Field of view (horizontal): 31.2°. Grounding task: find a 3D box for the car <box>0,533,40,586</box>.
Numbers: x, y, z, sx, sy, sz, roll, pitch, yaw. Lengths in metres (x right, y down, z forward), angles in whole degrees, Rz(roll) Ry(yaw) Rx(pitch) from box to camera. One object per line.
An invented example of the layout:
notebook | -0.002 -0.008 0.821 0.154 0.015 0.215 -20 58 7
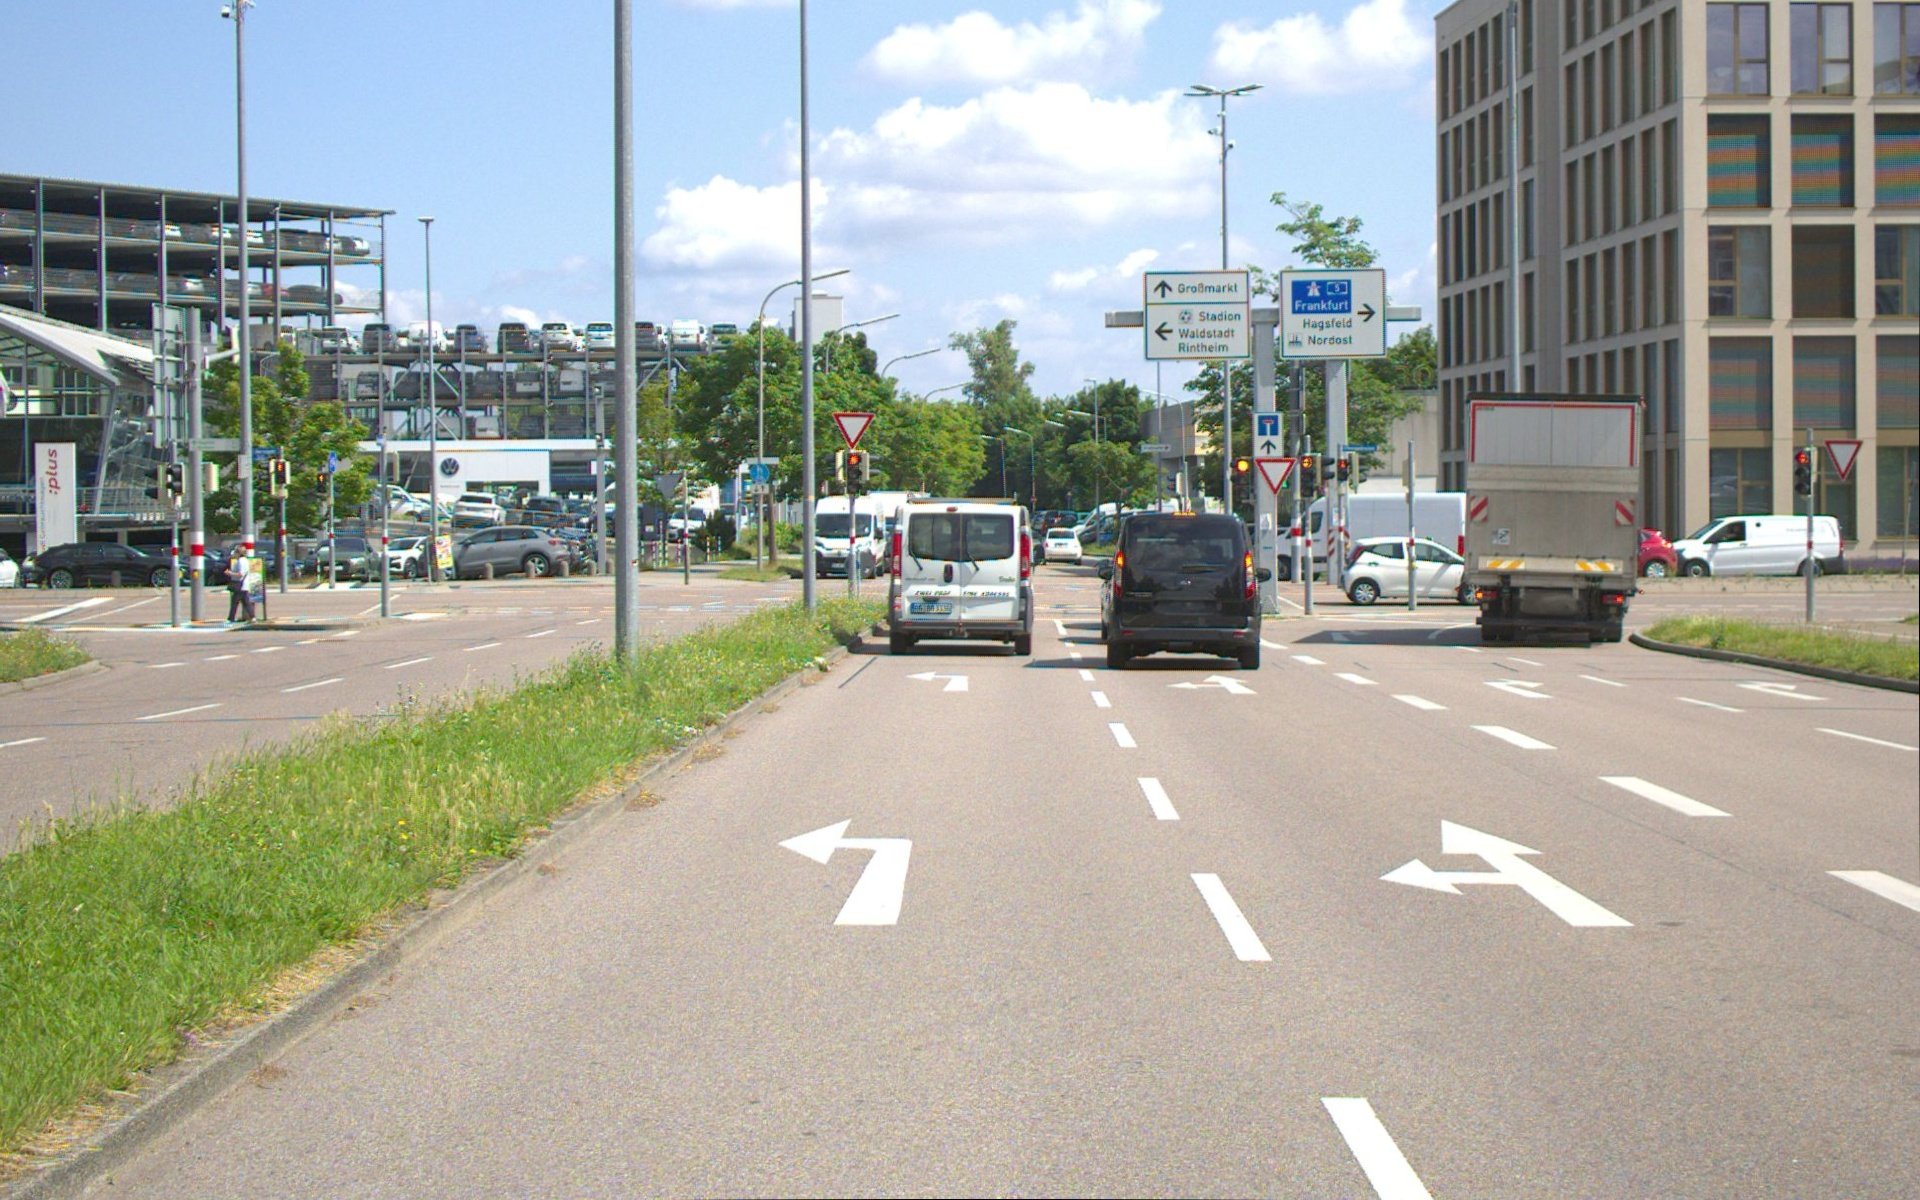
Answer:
car | -27.792 -1.177 98.820 1.776 1.445 4.030 0 2 -3

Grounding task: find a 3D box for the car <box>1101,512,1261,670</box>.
car | 2.673 -0.155 41.518 1.820 1.802 4.000 1 1 4

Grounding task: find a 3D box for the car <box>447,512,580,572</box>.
car | -13.885 -1.817 107.081 3.912 1.707 1.689 -2 2 -2

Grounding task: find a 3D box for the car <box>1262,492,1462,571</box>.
car | 11.784 -2.046 100.914 5.507 2.247 1.996 1 2 33

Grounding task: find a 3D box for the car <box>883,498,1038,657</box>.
car | 0.048 -0.320 45.772 1.856 2.011 4.000 0 1 3

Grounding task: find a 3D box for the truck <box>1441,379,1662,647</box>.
truck | 9.573 -1.439 54.903 3.131 3.927 8.854 0 2 12

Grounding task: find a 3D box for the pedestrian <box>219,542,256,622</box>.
pedestrian | -13.676 -0.346 65.108 0.470 1.507 0.511 1 1 26

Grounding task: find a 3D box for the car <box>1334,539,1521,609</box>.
car | 10.150 -0.571 74.847 3.851 1.461 1.696 0 2 1

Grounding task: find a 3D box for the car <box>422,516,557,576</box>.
car | -14.227 -1.650 104.136 3.861 1.634 1.858 -2 2 -2

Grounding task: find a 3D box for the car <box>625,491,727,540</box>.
car | -11.231 -3.321 135.796 3.986 1.919 1.827 0 1 -5

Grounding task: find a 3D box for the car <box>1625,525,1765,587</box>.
car | 19.079 -1.159 89.294 3.272 1.400 1.334 0 10 -1

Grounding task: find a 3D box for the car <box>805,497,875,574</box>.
car | -3.707 -2.031 106.887 1.971 2.248 4.981 -2 2 0

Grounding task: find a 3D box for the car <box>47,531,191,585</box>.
car | -24.104 -1.217 98.615 3.791 1.508 1.679 0 2 -4

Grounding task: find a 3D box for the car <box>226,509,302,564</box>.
car | -20.062 -1.829 98.995 1.816 1.546 4.001 0 1 -16

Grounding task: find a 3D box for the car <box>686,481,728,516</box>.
car | -11.508 -4.637 156.726 1.846 1.524 4.001 0 2 -3

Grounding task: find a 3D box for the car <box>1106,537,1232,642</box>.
car | 3.102 -0.187 51.557 1.740 1.490 4.000 1 1 2

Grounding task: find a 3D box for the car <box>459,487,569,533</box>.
car | -17.514 -3.546 135.093 4.164 1.707 1.689 1 2 -5

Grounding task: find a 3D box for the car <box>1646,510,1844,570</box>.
car | 21.589 -1.656 94.660 4.982 1.602 2.000 0 2 -1
